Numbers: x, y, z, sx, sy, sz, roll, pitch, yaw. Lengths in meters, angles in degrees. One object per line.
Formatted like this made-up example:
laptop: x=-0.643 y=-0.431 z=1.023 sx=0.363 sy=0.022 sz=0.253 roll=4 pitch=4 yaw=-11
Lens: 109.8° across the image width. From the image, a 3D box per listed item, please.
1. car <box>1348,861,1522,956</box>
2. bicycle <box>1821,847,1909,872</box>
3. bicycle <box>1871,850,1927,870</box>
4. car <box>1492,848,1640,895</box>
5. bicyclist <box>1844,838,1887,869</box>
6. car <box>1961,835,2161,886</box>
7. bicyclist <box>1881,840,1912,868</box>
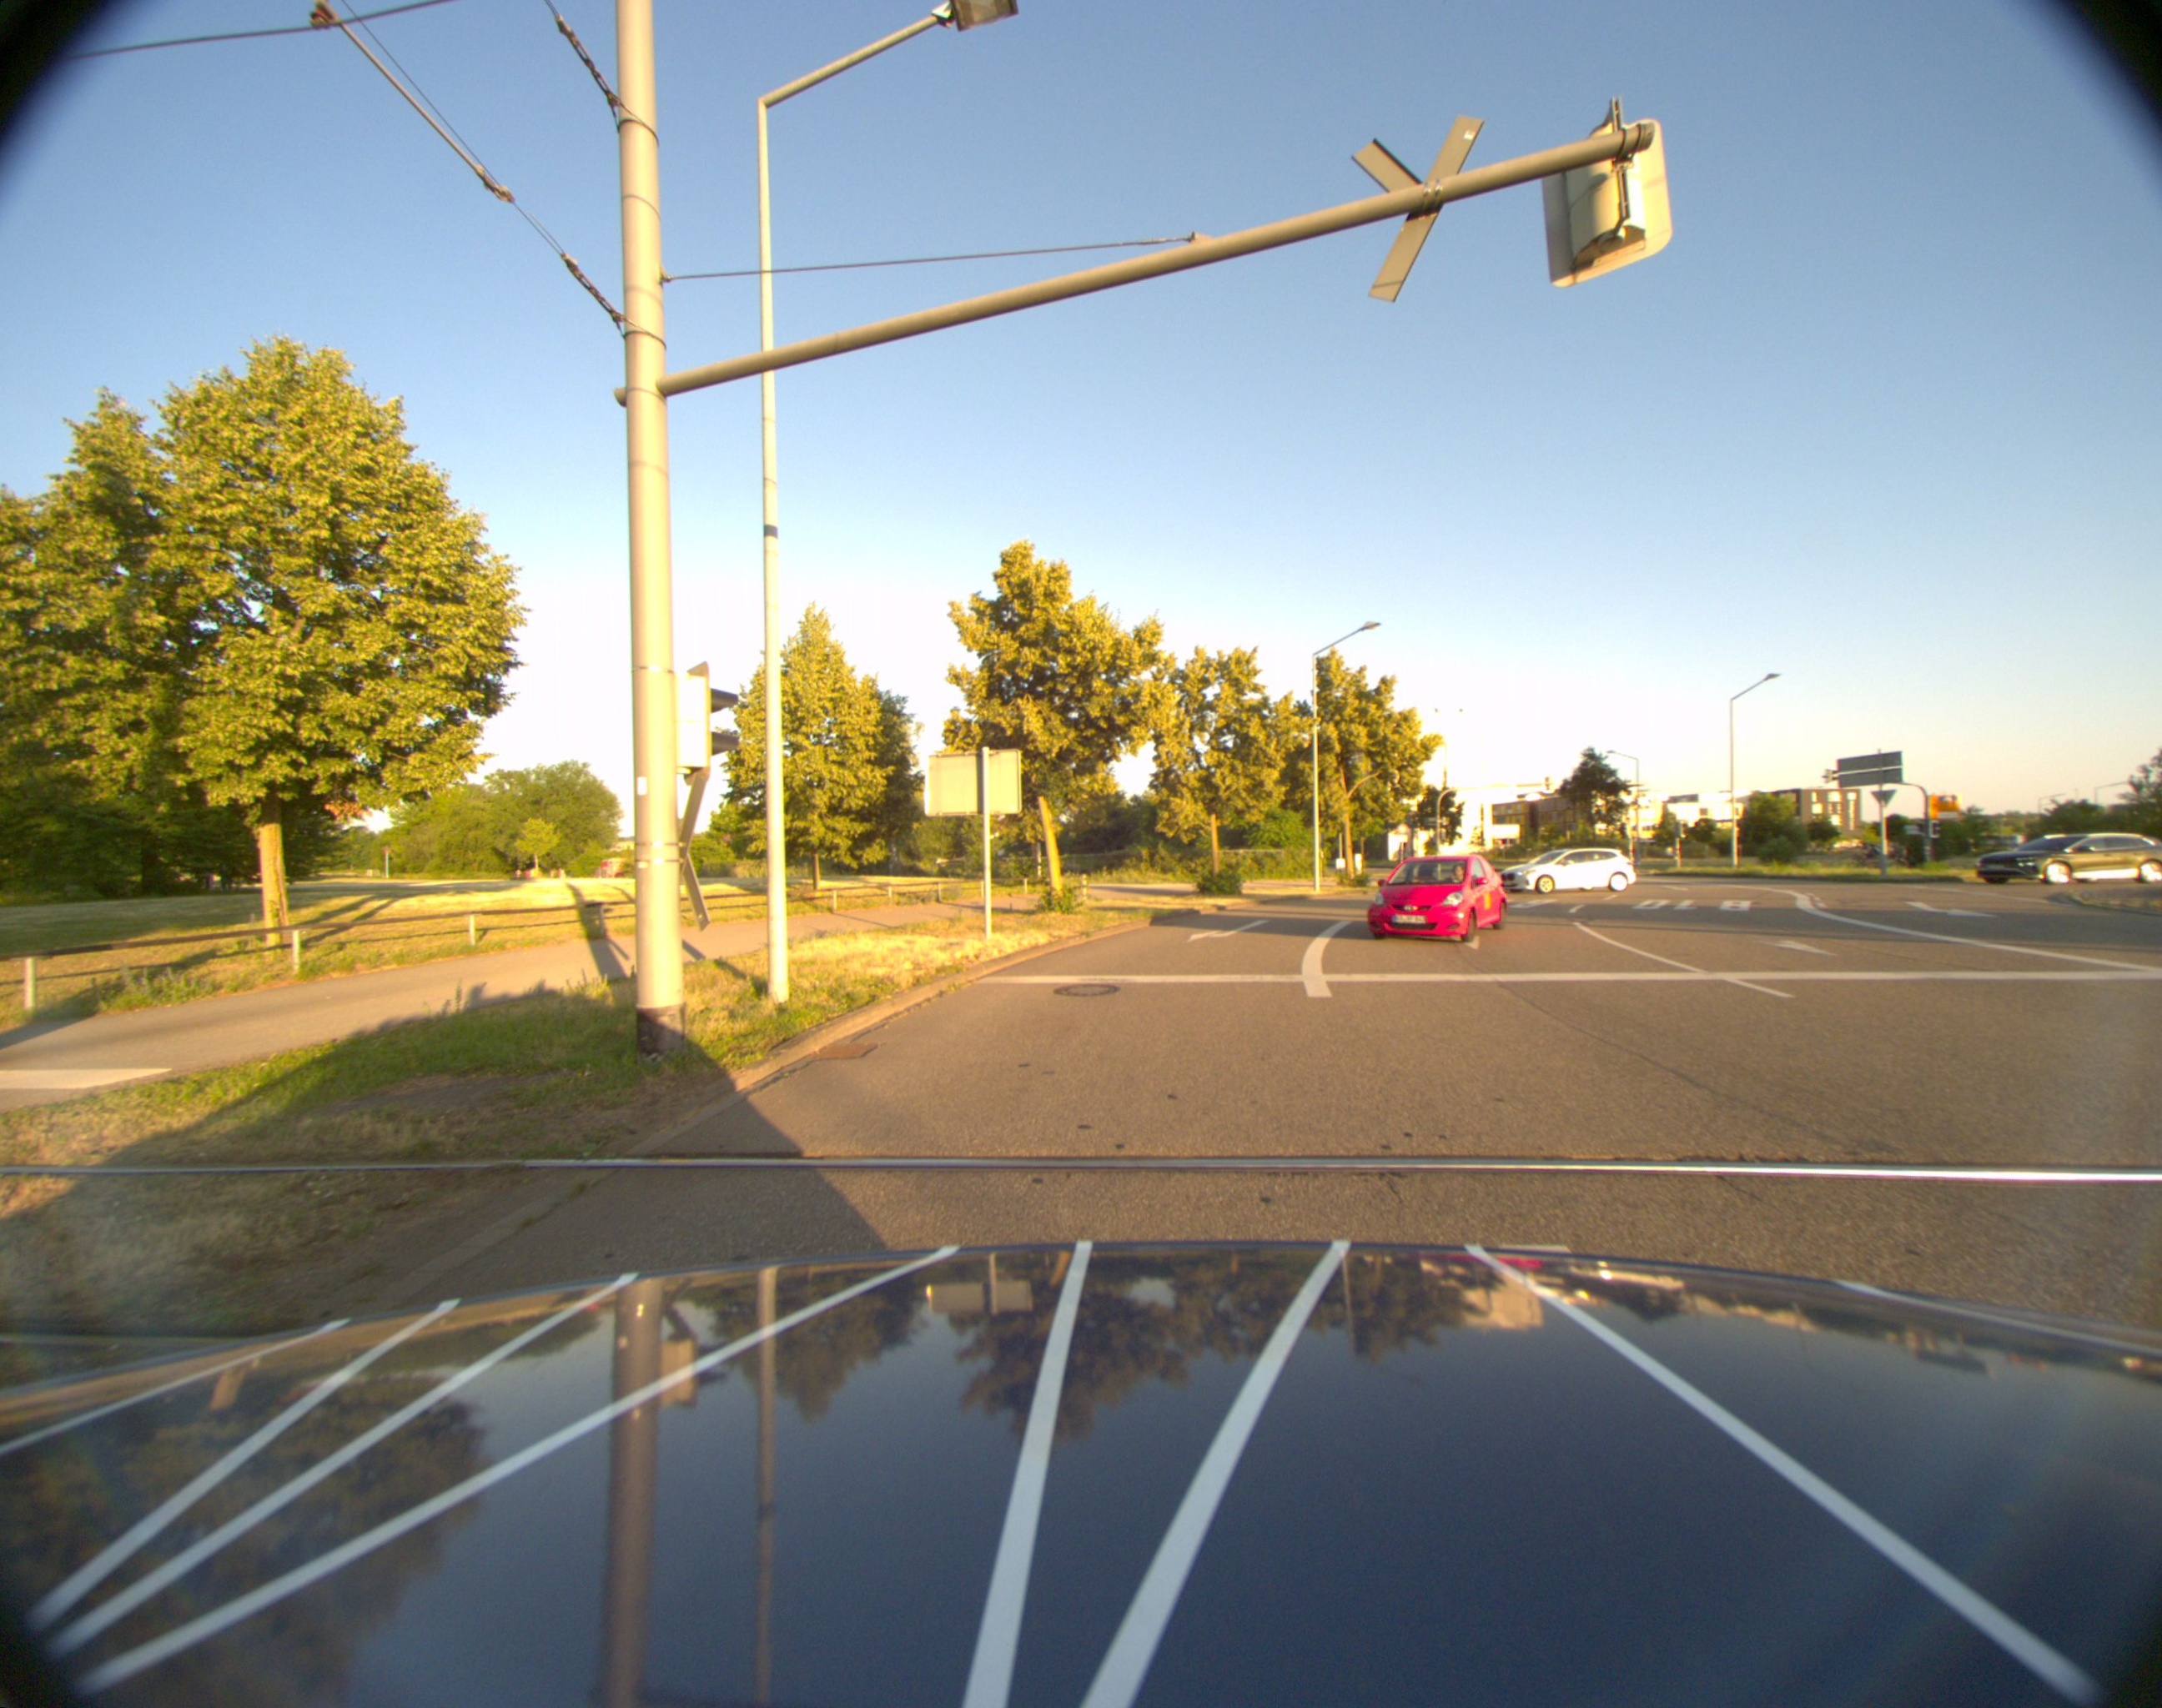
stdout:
car: x=6.539 y=0.884 z=13.783 sx=1.690 sy=1.413 sz=4.220 roll=-3 pitch=-2 yaw=41
bicycle: x=46.479 y=0.326 z=45.111 sx=3.531 sy=1.387 sz=1.125 roll=-1 pitch=1 yaw=19
bicycle: x=49.560 y=0.355 z=46.063 sx=2.325 sy=1.172 sz=0.811 roll=-1 pitch=1 yaw=8
car: x=17.474 y=0.619 z=27.496 sx=4.211 sy=1.549 sz=1.760 roll=-1 pitch=0 yaw=0
bicyclist: x=46.515 y=-0.031 z=45.092 sx=1.414 sy=1.739 sz=1.125 roll=-1 pitch=1 yaw=19
car: x=32.004 y=0.211 z=24.637 sx=4.206 sy=1.549 sz=1.831 roll=-1 pitch=0 yaw=18
bicyclist: x=49.442 y=0.005 z=46.063 sx=0.999 sy=1.623 sz=0.811 roll=-1 pitch=1 yaw=9
